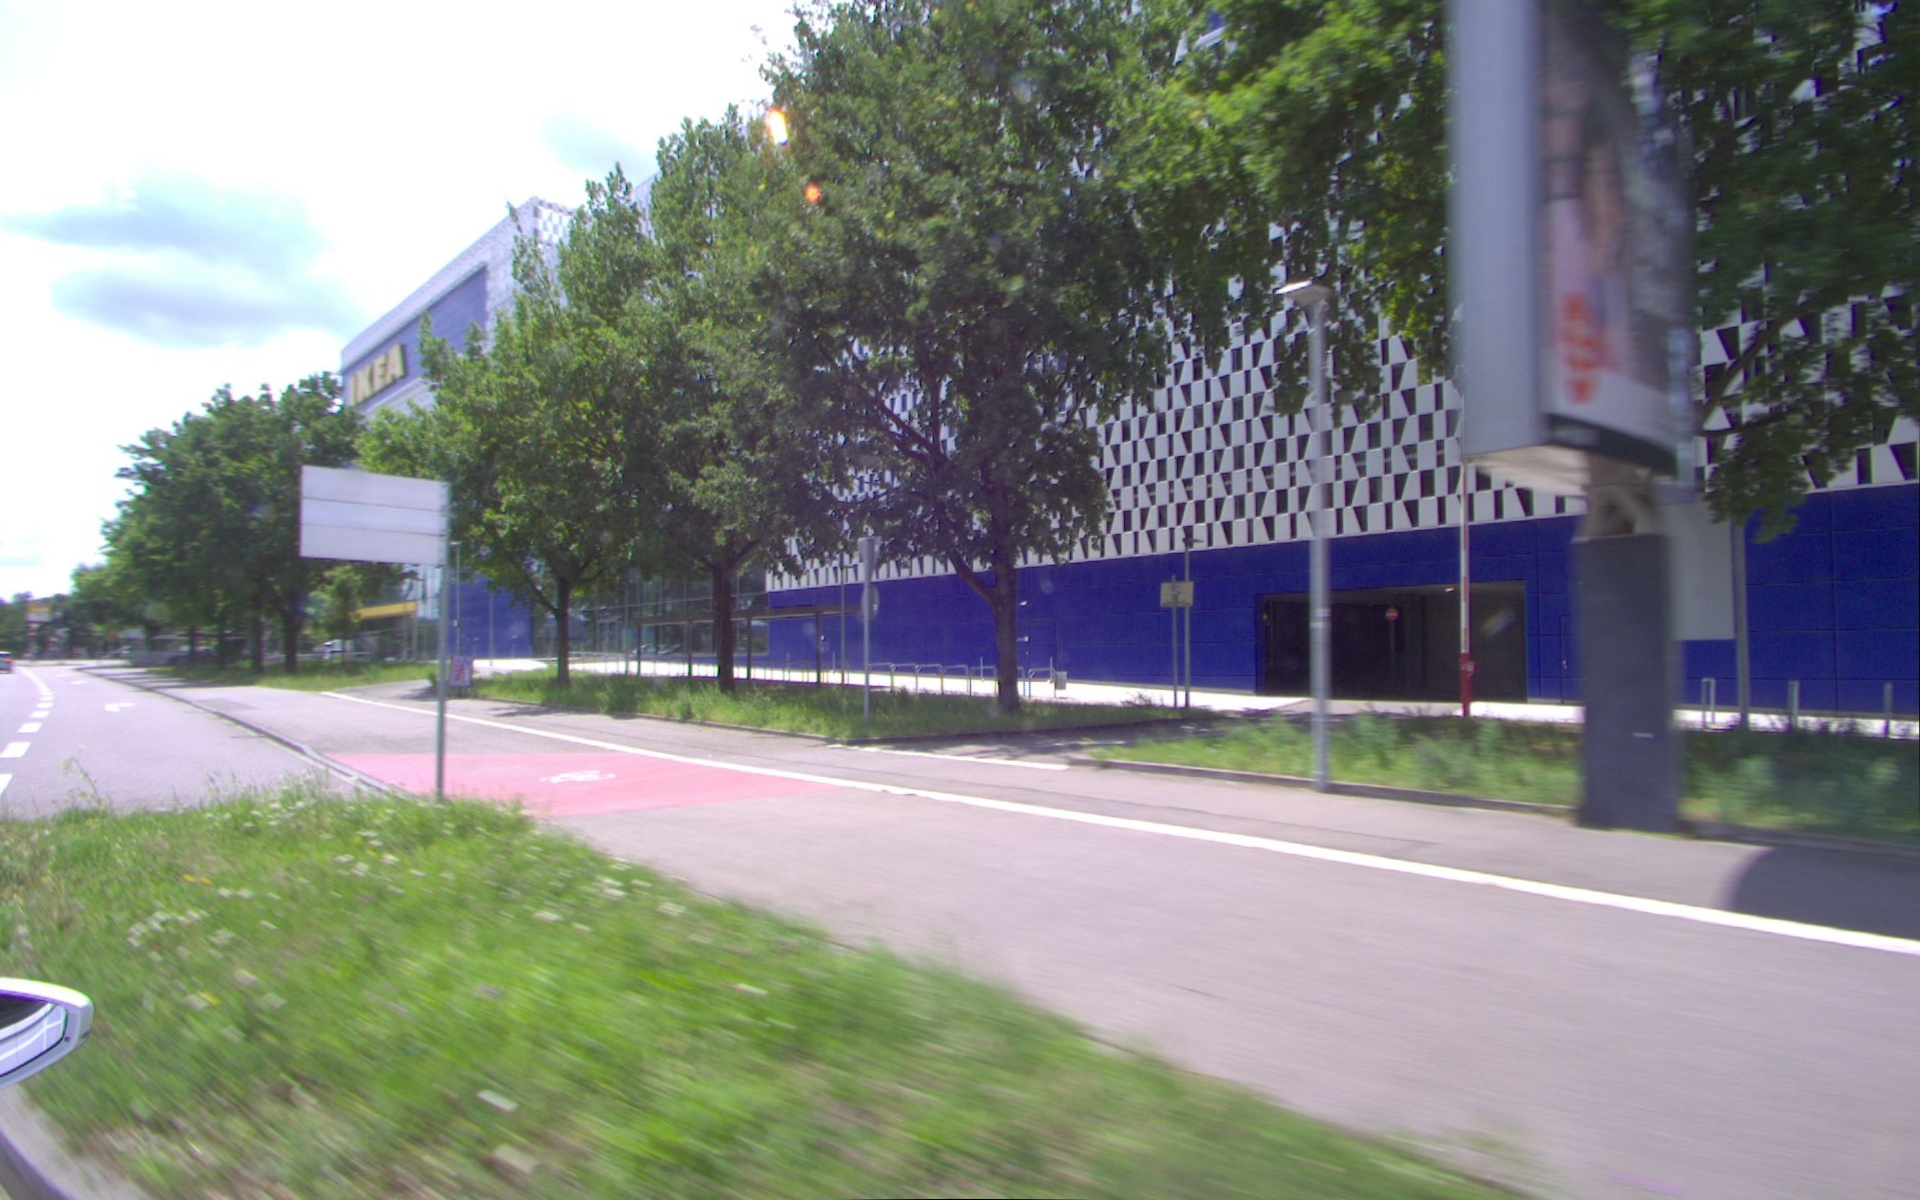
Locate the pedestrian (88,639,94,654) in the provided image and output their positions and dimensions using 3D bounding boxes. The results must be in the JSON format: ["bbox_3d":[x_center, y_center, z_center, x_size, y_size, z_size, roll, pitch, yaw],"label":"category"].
[{"bbox_3d":[-102.939,5.463,118.628,0.519,1.743,0.724,1,-1,-40],"label":"pedestrian"}]

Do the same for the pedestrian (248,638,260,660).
[{"bbox_3d":[-57.058,3.944,80.925,0.623,1.743,0.524,-1,-2,-8],"label":"pedestrian"}]

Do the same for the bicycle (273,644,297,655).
[{"bbox_3d":[-64.357,4.752,95.532,0.459,1.007,1.853,-1,-3,41],"label":"bicycle"}]

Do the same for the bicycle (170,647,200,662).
[{"bbox_3d":[-62.918,4.394,81.316,1.883,1.185,0.420,1,-2,-43],"label":"bicycle"}]

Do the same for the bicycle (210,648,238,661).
[{"bbox_3d":[-61.196,4.490,83.256,0.419,1.007,1.853,-3,-2,41],"label":"bicycle"}]

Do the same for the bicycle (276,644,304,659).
[{"bbox_3d":[-60.925,4.689,91.109,2.119,1.245,0.716,0,-1,-35],"label":"bicycle"}]

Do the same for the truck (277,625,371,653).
[{"bbox_3d":[-98.285,6.046,155.012,11.885,4.156,2.924,3,-3,-44],"label":"truck"}]

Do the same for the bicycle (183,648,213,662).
[{"bbox_3d":[-59.948,4.335,78.783,0.419,1.007,1.853,-1,-1,41],"label":"bicycle"}]

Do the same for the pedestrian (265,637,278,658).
[{"bbox_3d":[-71.849,4.954,104.485,0.997,2.097,0.969,1,-3,-31],"label":"pedestrian"}]

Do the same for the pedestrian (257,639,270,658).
[{"bbox_3d":[-72.037,5.050,103.608,0.997,1.924,0.970,1,-5,-31],"label":"pedestrian"}]

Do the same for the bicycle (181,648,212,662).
[{"bbox_3d":[-60.306,4.354,79.111,0.419,1.007,1.853,-1,-1,41],"label":"bicycle"}]

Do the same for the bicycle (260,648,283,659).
[{"bbox_3d":[-67.354,5.251,98.001,1.849,1.007,0.420,2,-2,-43],"label":"bicycle"}]

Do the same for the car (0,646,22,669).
[{"bbox_3d":[-67.778,4.029,70.814,3.794,1.487,1.884,-1,-5,45],"label":"car"}]
